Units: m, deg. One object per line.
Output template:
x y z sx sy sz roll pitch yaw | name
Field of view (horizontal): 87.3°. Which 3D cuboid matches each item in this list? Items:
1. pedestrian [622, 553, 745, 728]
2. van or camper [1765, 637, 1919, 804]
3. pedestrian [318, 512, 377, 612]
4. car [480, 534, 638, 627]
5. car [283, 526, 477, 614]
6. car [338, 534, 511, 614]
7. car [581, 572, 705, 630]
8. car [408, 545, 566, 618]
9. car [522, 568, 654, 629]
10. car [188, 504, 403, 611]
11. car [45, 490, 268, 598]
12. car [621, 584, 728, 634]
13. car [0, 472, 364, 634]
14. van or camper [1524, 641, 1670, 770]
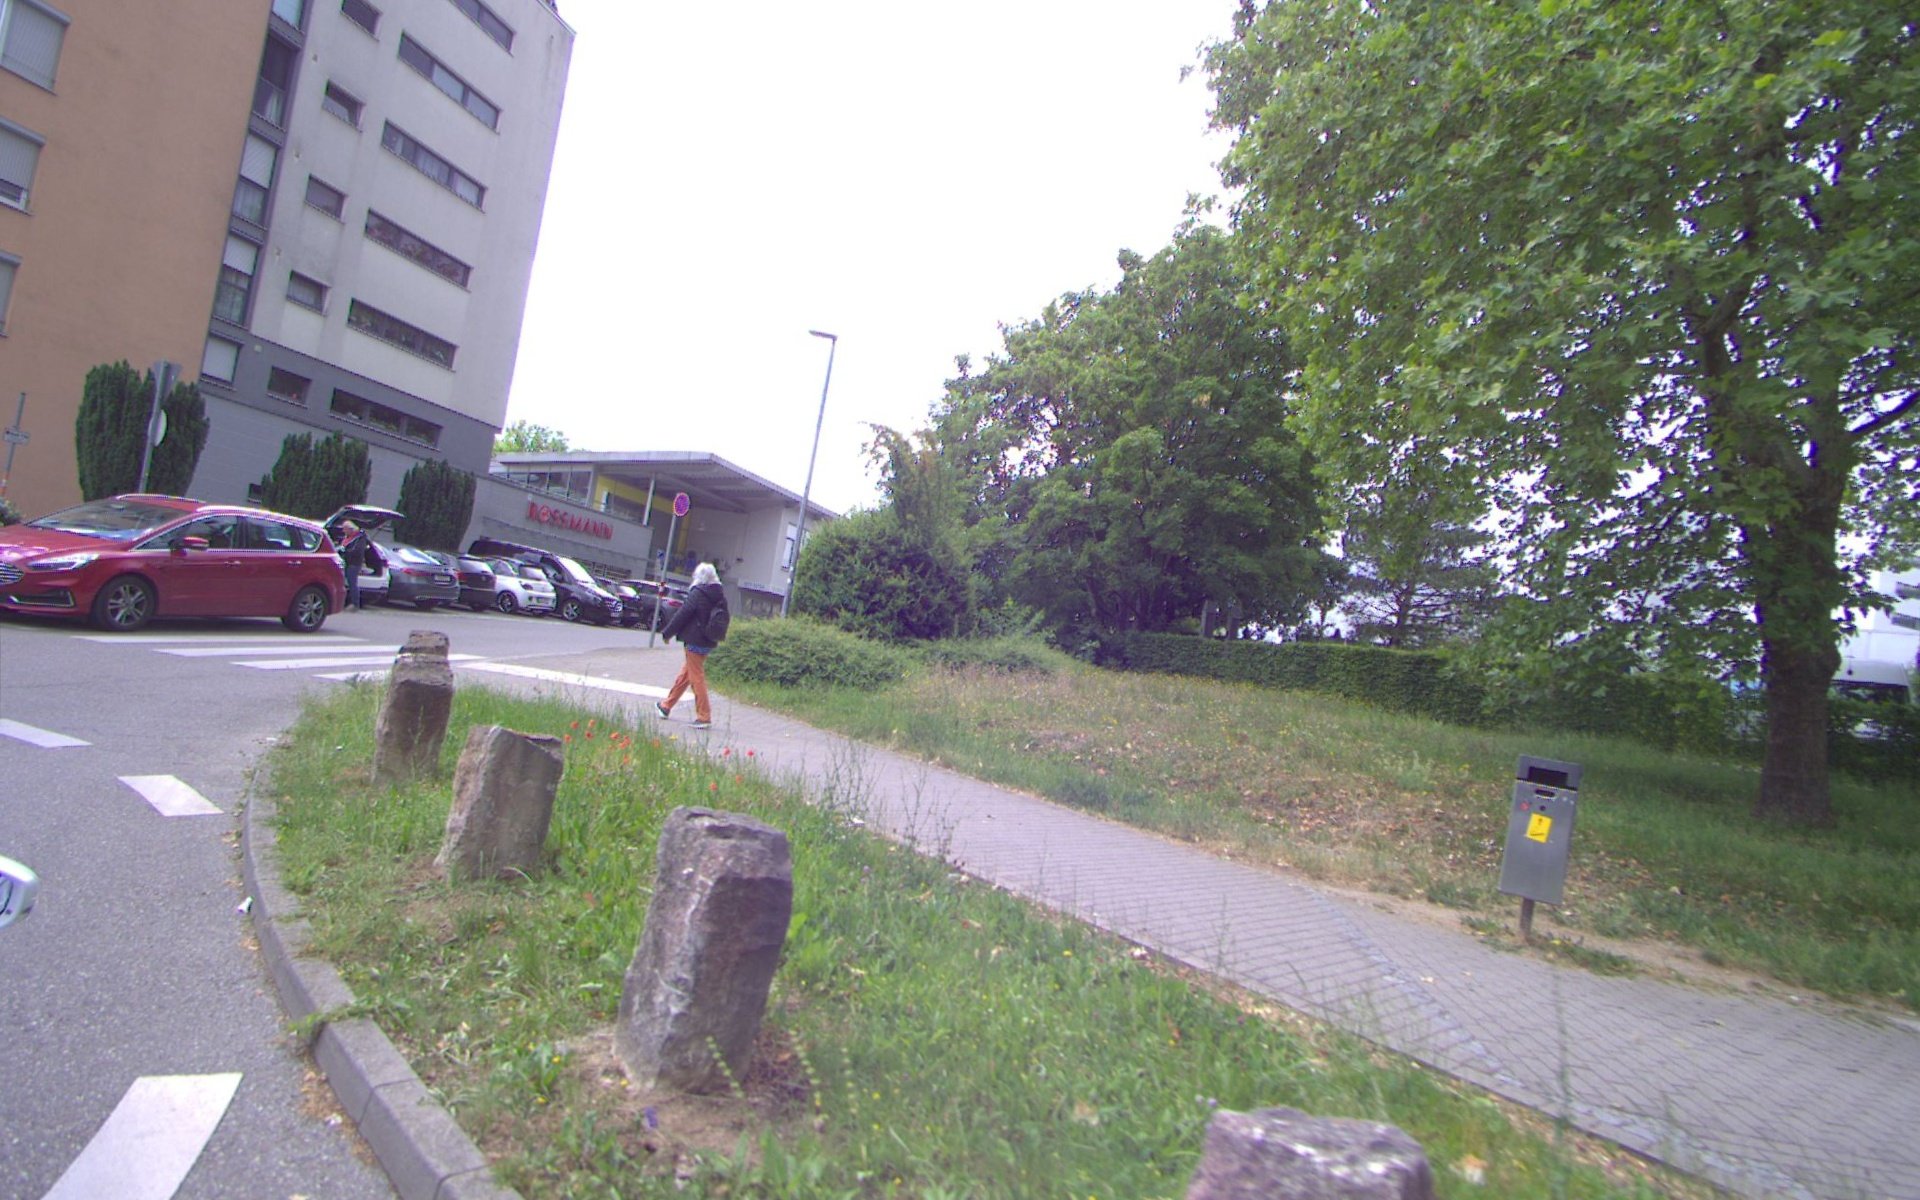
-2.866 0.428 10.466 0.825 1.683 0.615 7 -2 20 | pedestrian
17.966 2.482 20.207 4.458 2.828 2.089 11 -4 -44 | van or camper
-11.918 -0.732 19.588 0.475 1.832 0.584 7 -2 19 | pedestrian
-12.111 -0.567 30.489 3.902 2.184 1.833 7 -2 16 | car
-13.316 -0.674 23.125 3.705 1.500 1.643 7 0 16 | car
-13.680 -0.657 25.736 3.705 1.500 1.643 7 0 16 | car
-11.056 0.051 35.142 3.705 1.500 1.643 7 0 16 | car
-13.201 -0.508 28.101 3.705 1.500 1.643 7 0 16 | car
-12.240 -0.048 33.187 3.705 1.500 1.643 7 0 16 | car
-13.796 -0.870 20.928 3.705 1.679 1.574 7 0 16 | car
-14.611 -1.019 18.310 3.460 1.495 1.504 7 1 20 | car
-11.411 0.361 40.274 3.705 1.500 1.643 7 0 16 | car
-10.431 -0.528 13.217 1.943 1.664 4.538 8 0 8 | car
16.843 2.822 26.499 4.458 2.828 2.089 11 -4 -44 | van or camper
